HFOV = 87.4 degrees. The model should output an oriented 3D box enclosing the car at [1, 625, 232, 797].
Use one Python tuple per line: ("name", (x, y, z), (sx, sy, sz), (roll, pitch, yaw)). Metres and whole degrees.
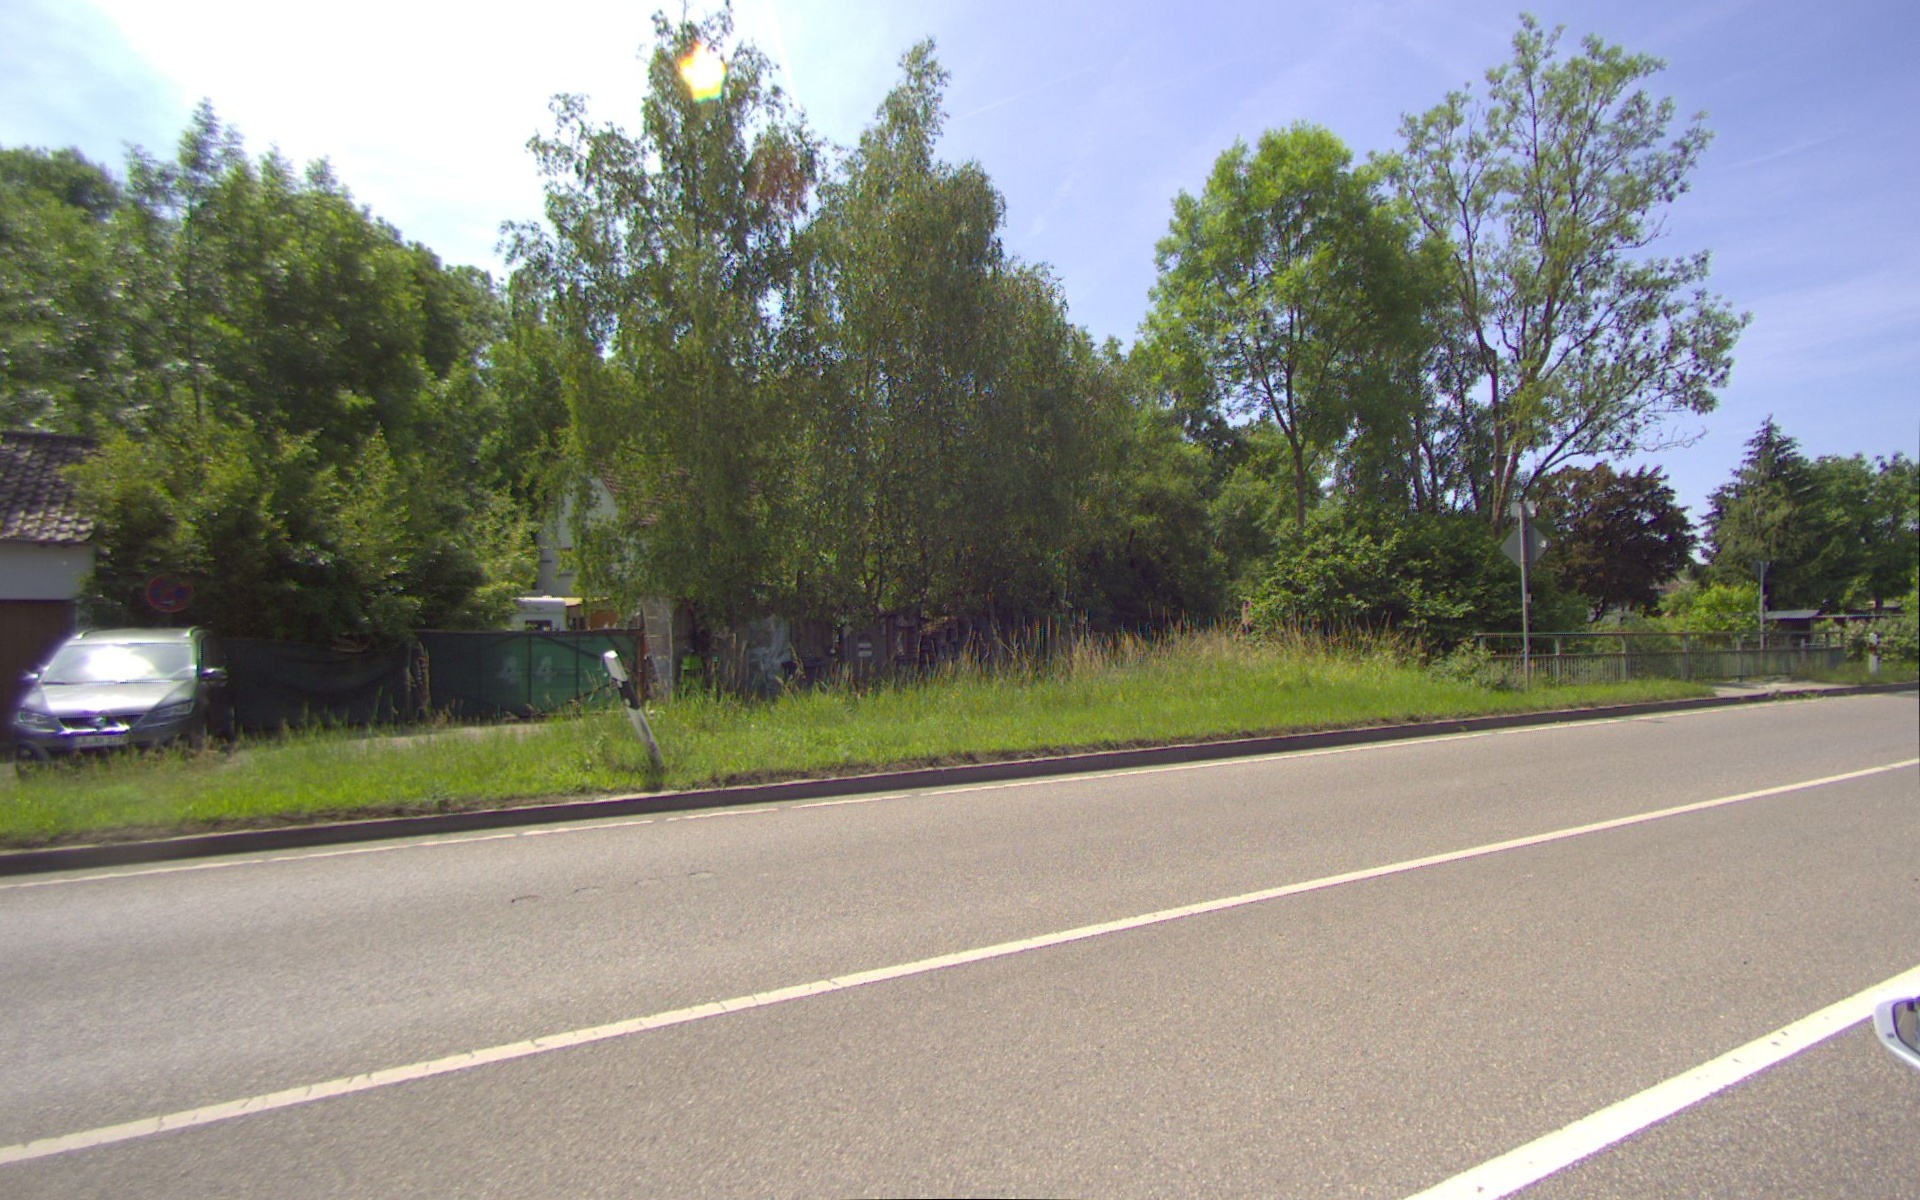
("car", (-10.991, 1.278, 13.422), (1.842, 1.743, 4.634), (-1, 1, -34))
